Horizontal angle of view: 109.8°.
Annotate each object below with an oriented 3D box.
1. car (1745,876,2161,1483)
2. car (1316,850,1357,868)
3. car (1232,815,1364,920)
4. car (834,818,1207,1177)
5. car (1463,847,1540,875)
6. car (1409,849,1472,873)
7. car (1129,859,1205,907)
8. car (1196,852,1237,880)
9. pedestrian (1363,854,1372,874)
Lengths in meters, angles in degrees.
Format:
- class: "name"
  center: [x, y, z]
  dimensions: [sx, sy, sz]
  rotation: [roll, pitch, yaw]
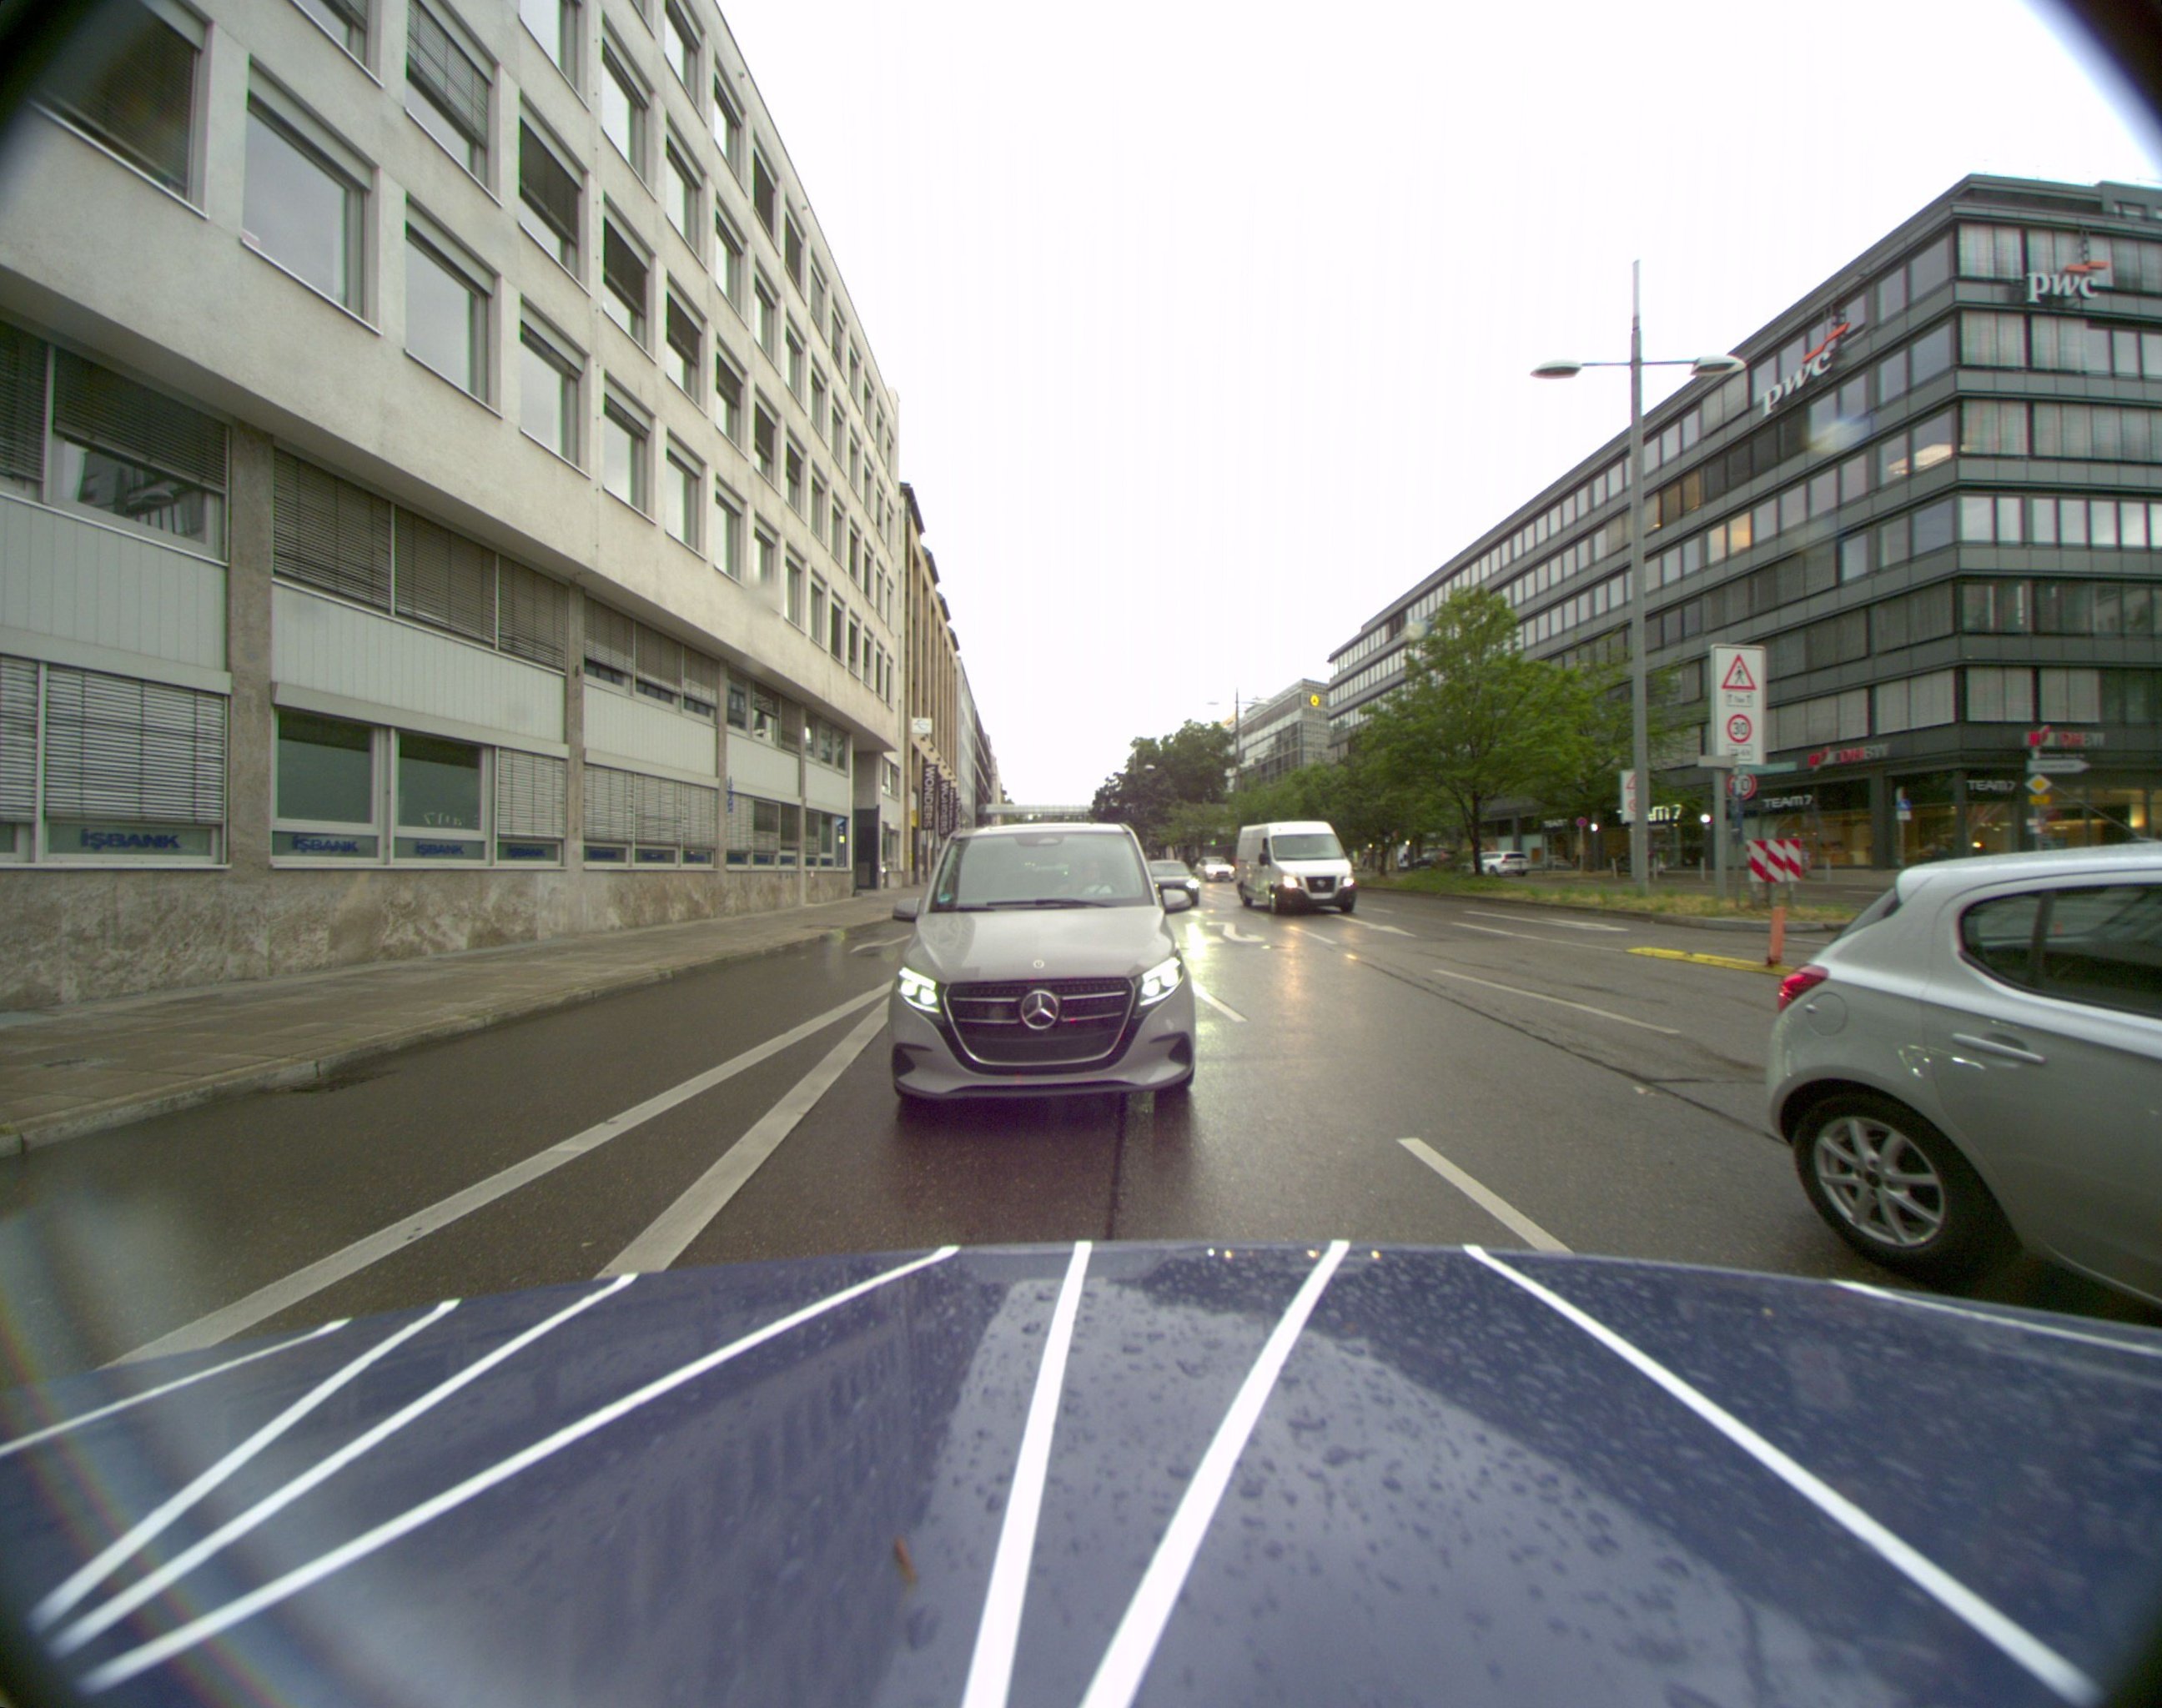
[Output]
- class: "car"
  center: [3.508, 0.827, 1.104]
  dimensions: [1.652, 1.427, 3.875]
  rotation: [-2, 0, 0]
- class: "car"
  center: [22.385, 0.452, 66.675]
  dimensions: [1.999, 1.498, 3.999]
  rotation: [-2, 0, -4]
- class: "car"
  center: [5.749, 0.331, 20.922]
  dimensions: [1.951, 2.426, 5.480]
  rotation: [-2, 0, 0]
- class: "car"
  center: [-0.335, 0.769, 6.552]
  dimensions: [1.916, 1.844, 5.026]
  rotation: [-2, 0, 0]
- class: "car"
  center: [24.096, 0.383, 43.672]
  dimensions: [1.999, 1.498, 3.999]
  rotation: [-2, 0, -4]
- class: "car"
  center: [23.638, 0.442, 50.130]
  dimensions: [1.999, 1.498, 4.106]
  rotation: [-2, 0, -4]
- class: "car"
  center: [2.789, 0.902, 25.483]
  dimensions: [1.776, 1.427, 4.093]
  rotation: [-2, 0, -4]
- class: "car"
  center: [8.266, 0.712, 46.516]
  dimensions: [1.766, 1.608, 3.495]
  rotation: [-2, 0, -1]
- class: "pedestrian"
  center: [28.968, 1.034, 76.752]
  dimensions: [0.689, 2.002, 0.501]
  rotation: [-2, 0, -3]
